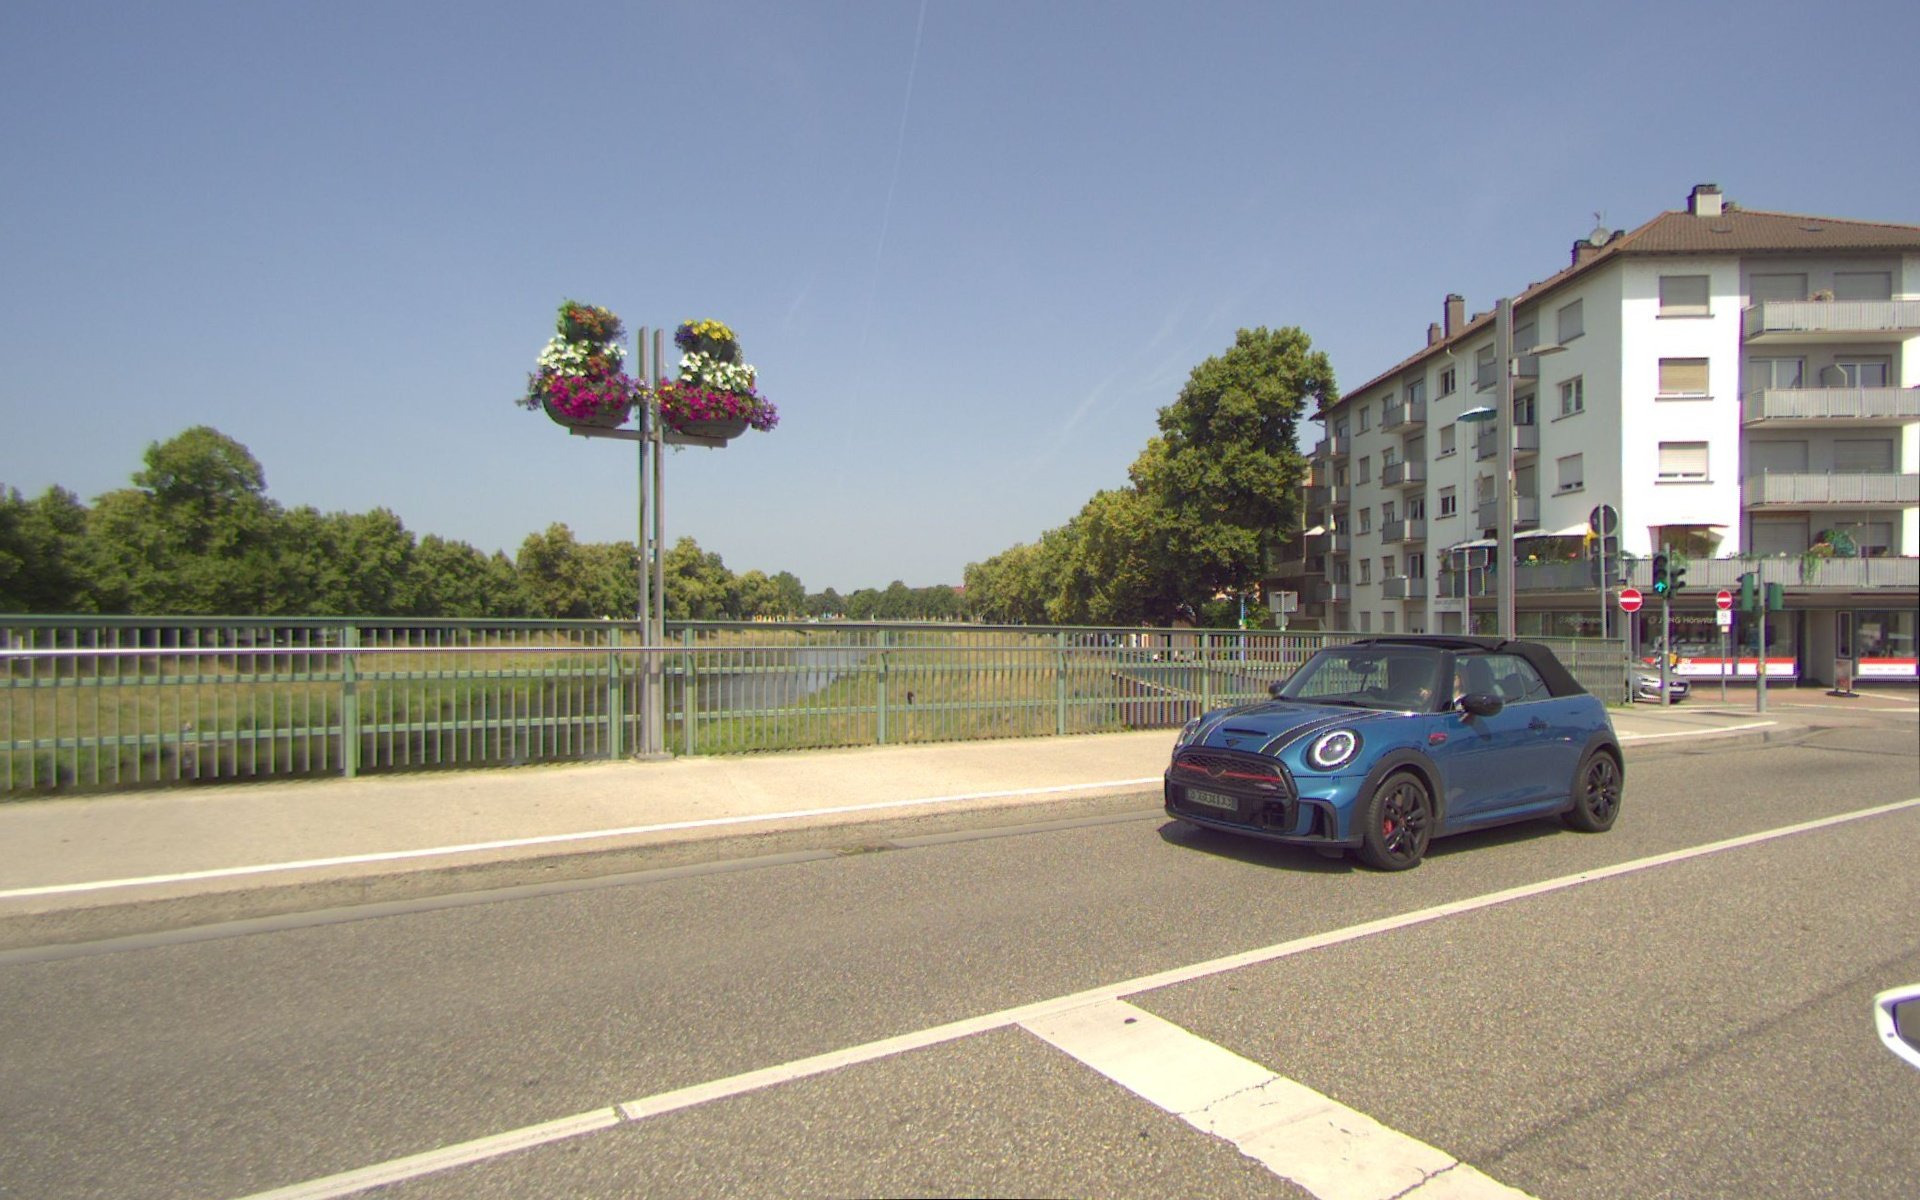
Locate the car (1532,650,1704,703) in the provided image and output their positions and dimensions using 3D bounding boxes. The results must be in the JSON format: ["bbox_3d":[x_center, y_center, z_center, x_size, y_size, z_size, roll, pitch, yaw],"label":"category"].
[{"bbox_3d":[19.577,2.229,30.128,1.673,1.438,4.375,0,-2,-13],"label":"car"}]

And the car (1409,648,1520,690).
[{"bbox_3d":[18.504,2.490,37.080,1.669,1.438,4.384,0,-2,-3],"label":"car"}]

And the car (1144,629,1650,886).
[{"bbox_3d":[3.307,0.984,7.448,3.714,1.459,1.648,2,-3,-32],"label":"car"}]
